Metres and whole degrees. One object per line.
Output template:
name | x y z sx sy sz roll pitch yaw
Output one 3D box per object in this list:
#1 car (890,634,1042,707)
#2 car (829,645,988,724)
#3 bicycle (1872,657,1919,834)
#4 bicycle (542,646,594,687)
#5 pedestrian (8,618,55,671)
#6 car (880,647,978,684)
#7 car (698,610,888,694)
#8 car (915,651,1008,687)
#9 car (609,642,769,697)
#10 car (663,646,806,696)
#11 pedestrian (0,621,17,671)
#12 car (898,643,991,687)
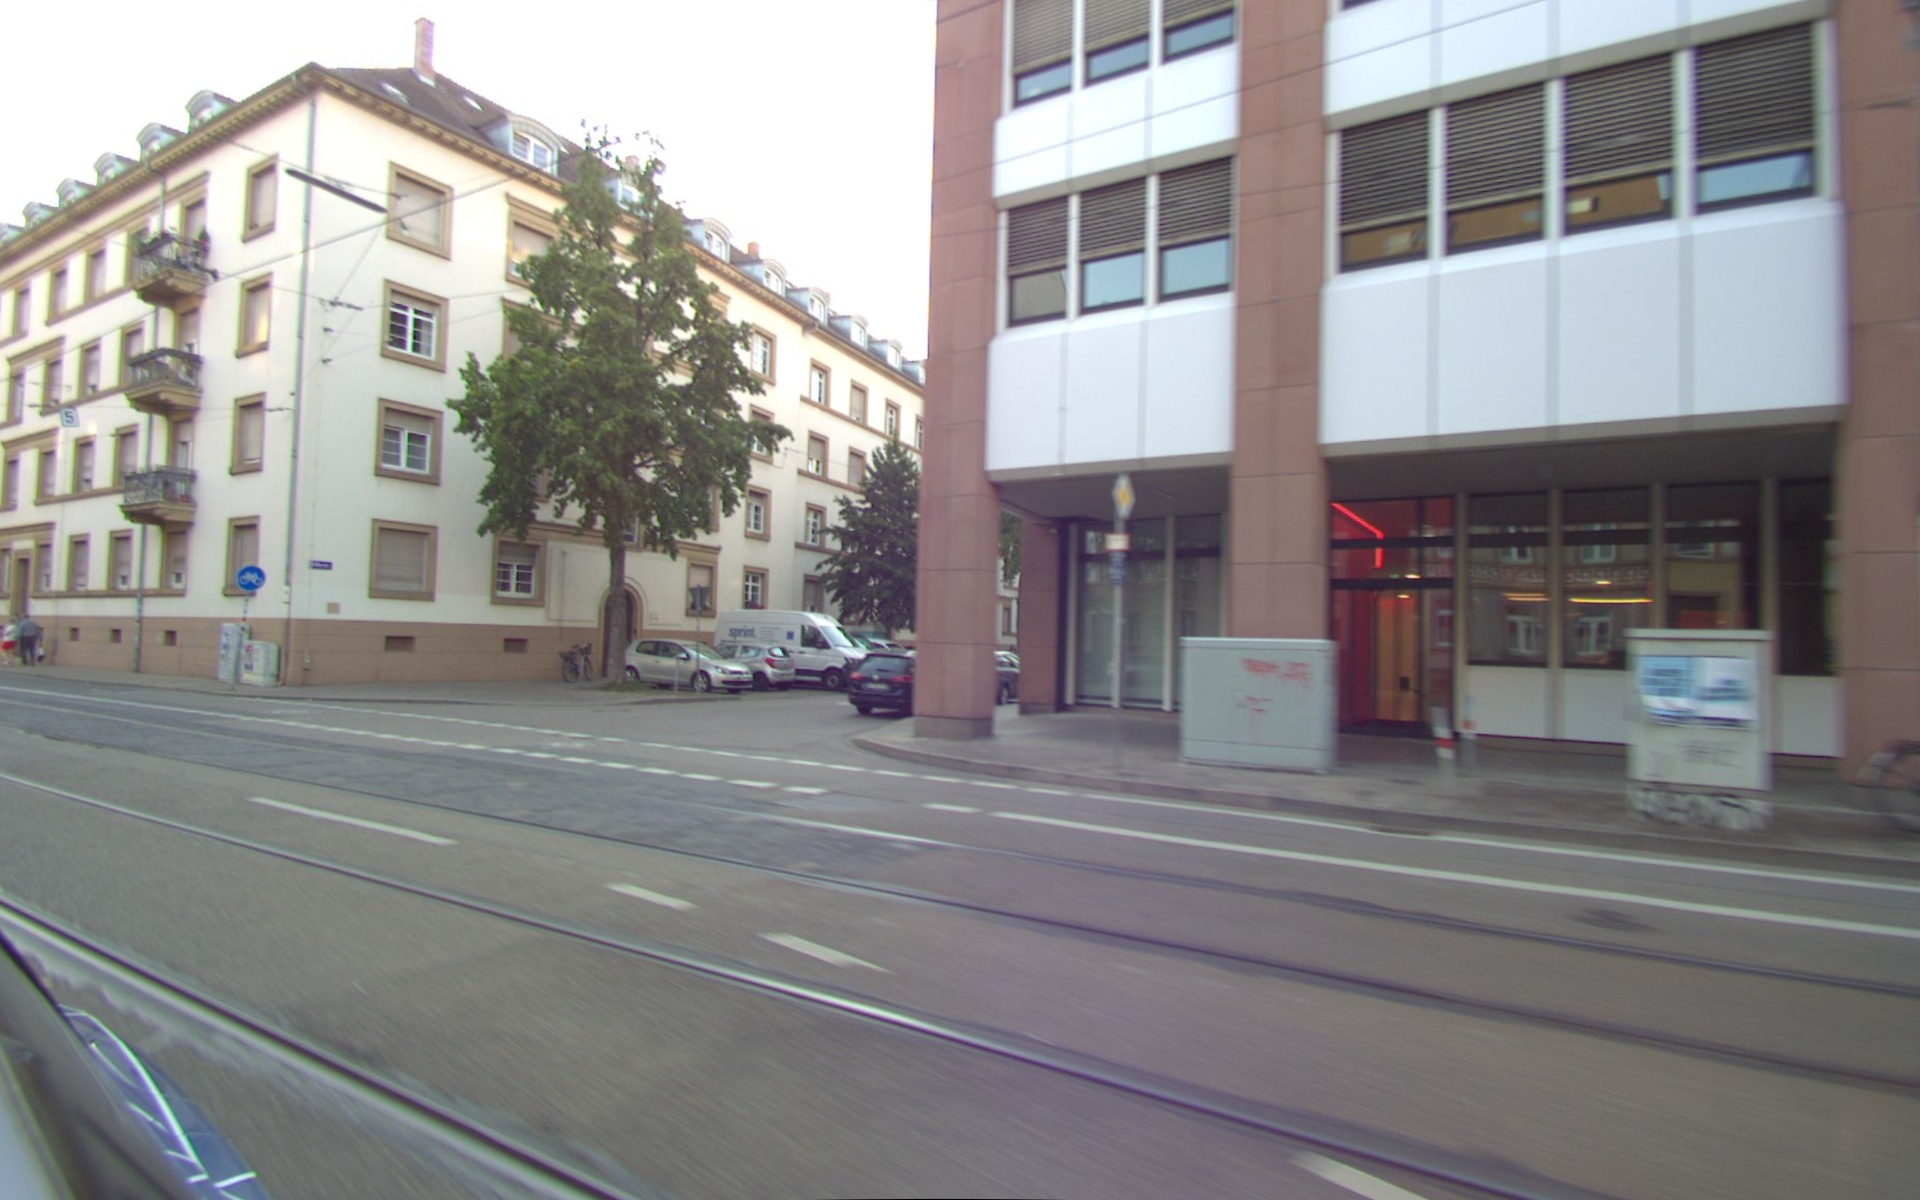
car | 0.194 2.134 30.962 4.248 2.055 1.812 0 -4 22
car | -1.053 1.860 22.811 1.913 1.516 3.966 2 -3 25
bicycle | 8.489 1.156 7.693 2.256 1.388 0.602 -1 -4 40
bicycle | -12.008 2.038 31.050 0.598 1.222 1.676 1 -3 14
pedestrian | -30.578 1.462 33.329 0.977 1.714 0.790 -1 -3 30
car | -1.372 2.889 45.047 3.972 1.530 1.812 0 -4 22
car | -5.624 1.715 33.917 6.093 2.609 2.080 0 -3 24
car | 0.068 3.212 47.411 3.972 1.530 1.812 0 -4 22
car | -7.844 1.991 29.283 4.154 1.433 1.983 0 -3 24
car | -7.136 2.214 32.044 4.154 1.433 1.780 0 -3 25
pedestrian | -31.172 1.486 32.827 0.808 1.622 0.586 -1 -3 30
car | -0.761 3.234 50.388 4.248 2.055 1.812 0 -4 22
